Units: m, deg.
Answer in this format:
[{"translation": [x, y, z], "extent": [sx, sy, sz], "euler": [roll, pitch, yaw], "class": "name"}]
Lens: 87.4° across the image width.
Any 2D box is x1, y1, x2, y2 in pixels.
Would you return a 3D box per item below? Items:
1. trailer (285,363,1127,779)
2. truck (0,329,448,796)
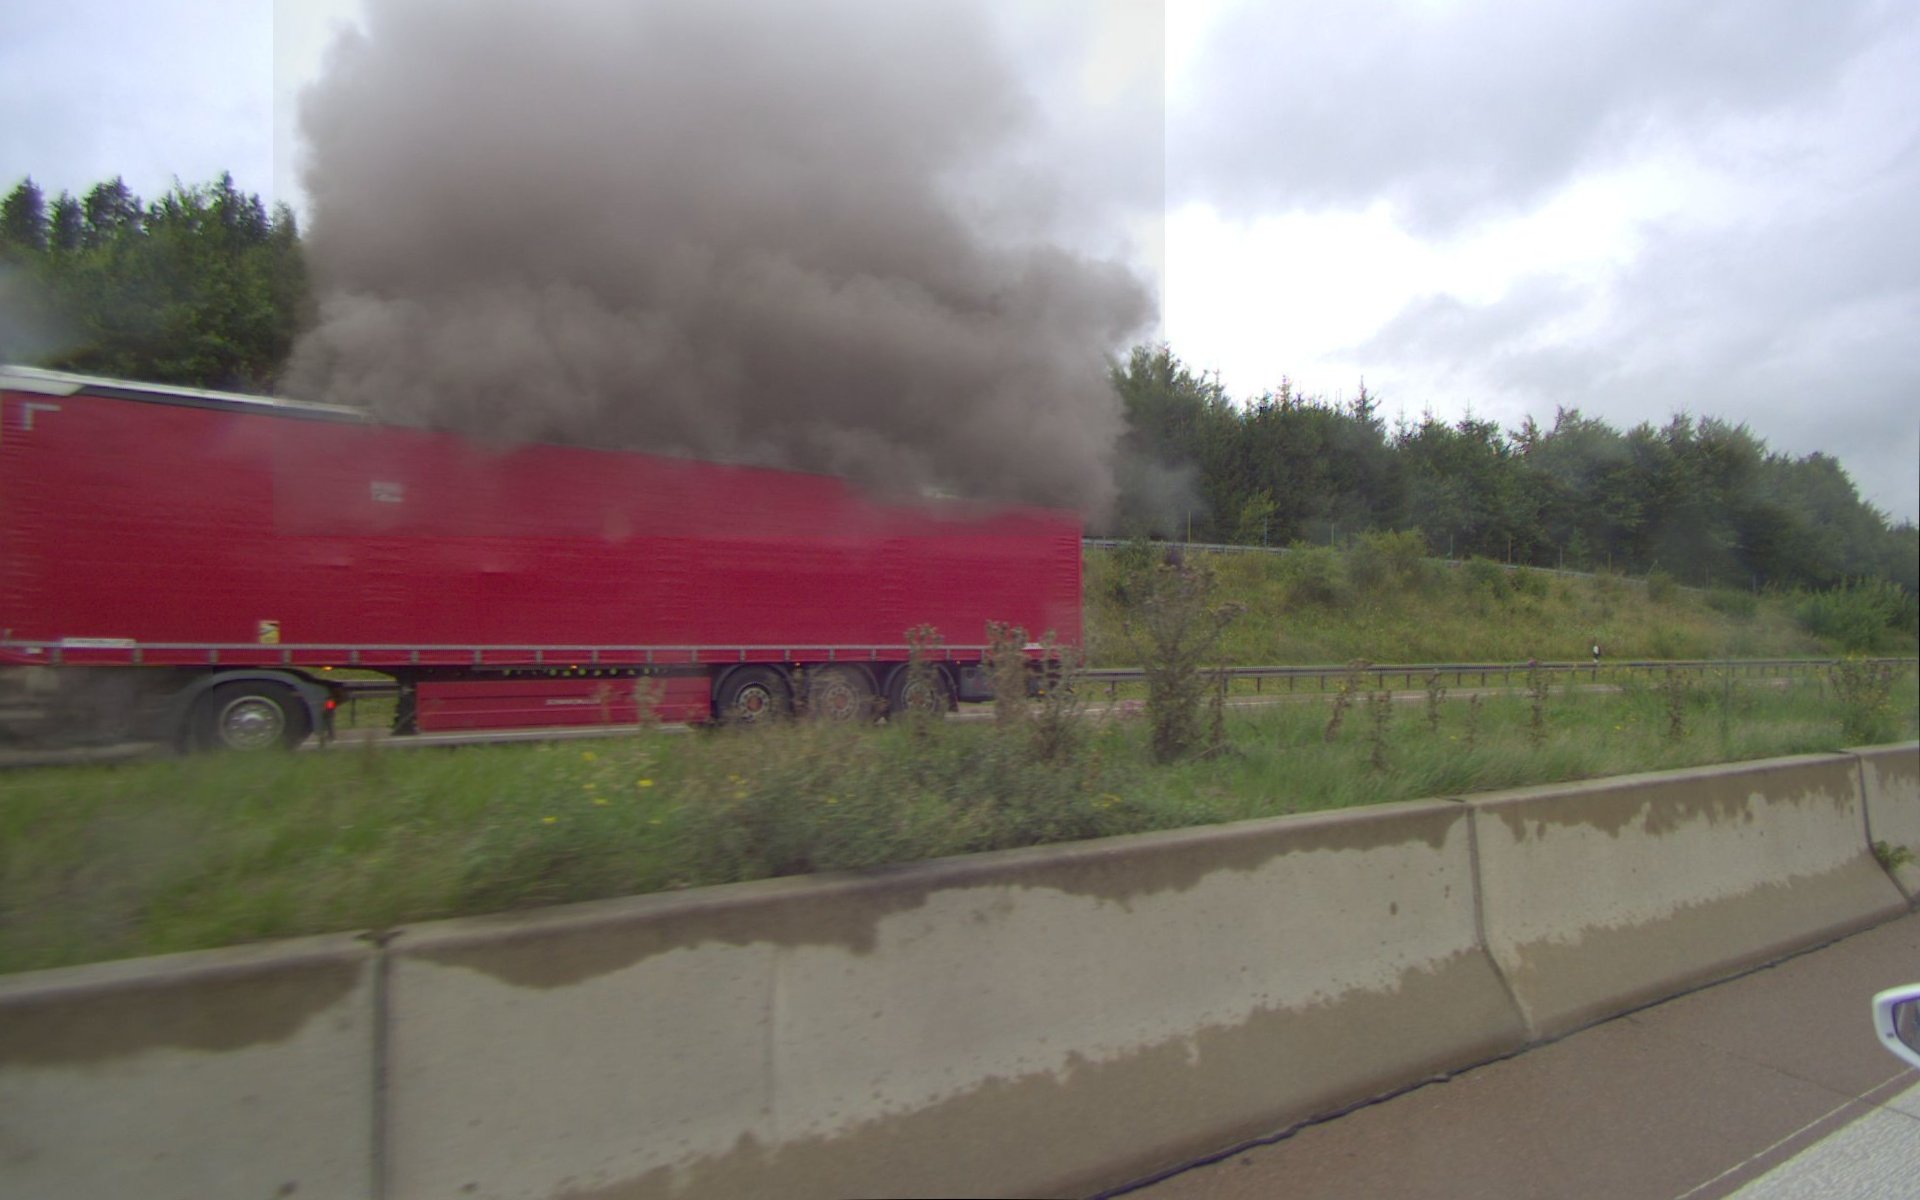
[{"translation": [-2.997, -0.097, 15.205], "extent": [11.639, 4.548, 2.926], "euler": [3, 0, -31], "class": "trailer"}, {"translation": [-9.664, -0.363, 11.267], "extent": [6.713, 4.536, 2.936], "euler": [3, 0, -30], "class": "truck"}]
